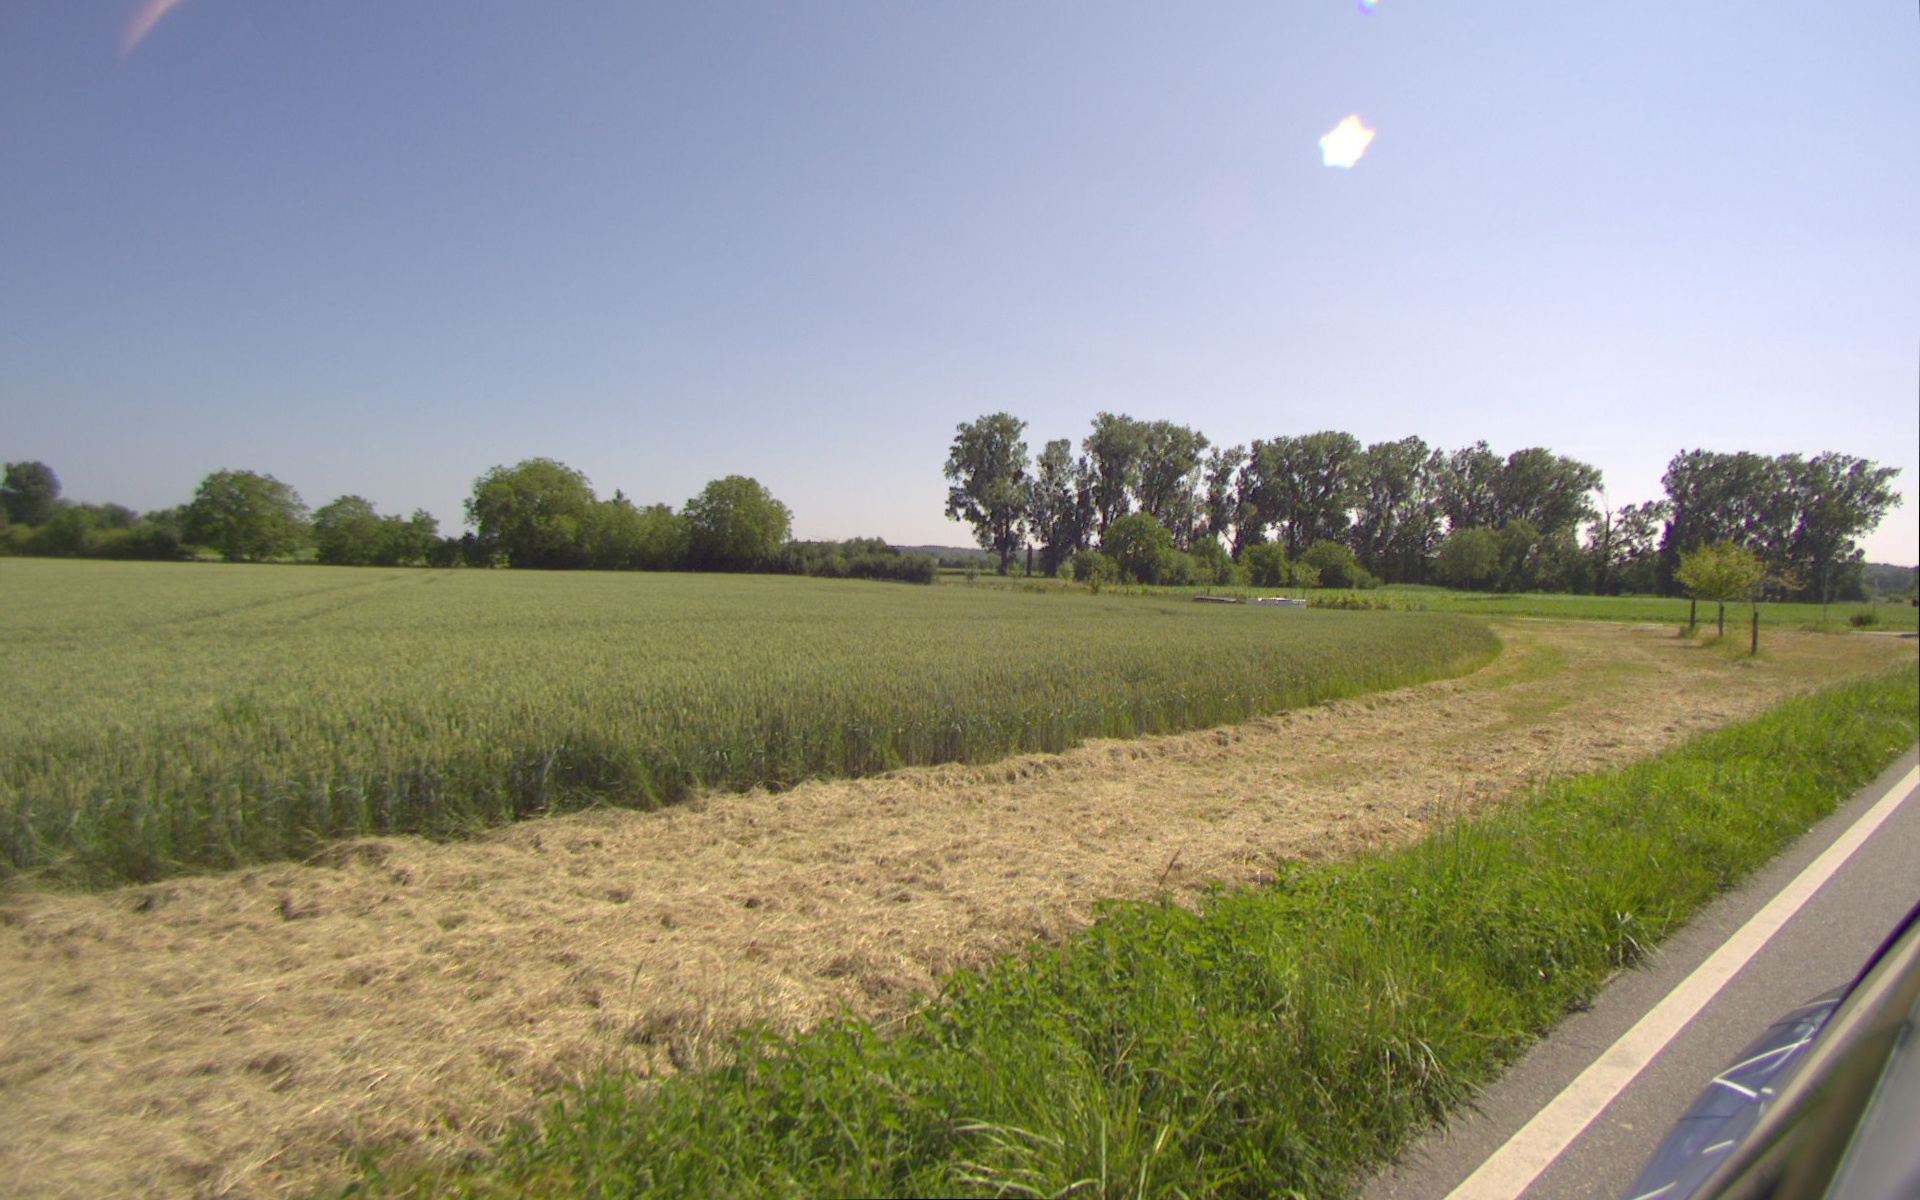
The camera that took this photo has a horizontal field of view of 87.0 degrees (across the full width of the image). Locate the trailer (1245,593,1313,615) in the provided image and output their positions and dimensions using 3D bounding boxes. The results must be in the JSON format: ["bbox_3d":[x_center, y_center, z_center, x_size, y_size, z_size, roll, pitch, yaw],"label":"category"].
[{"bbox_3d":[18.098,0.218,57.500,1.630,1.204,3.601,0,1,-29],"label":"trailer"}]

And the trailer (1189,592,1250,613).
[{"bbox_3d":[15.889,0.144,62.117,1.630,1.204,3.554,0,1,-29],"label":"trailer"}]
